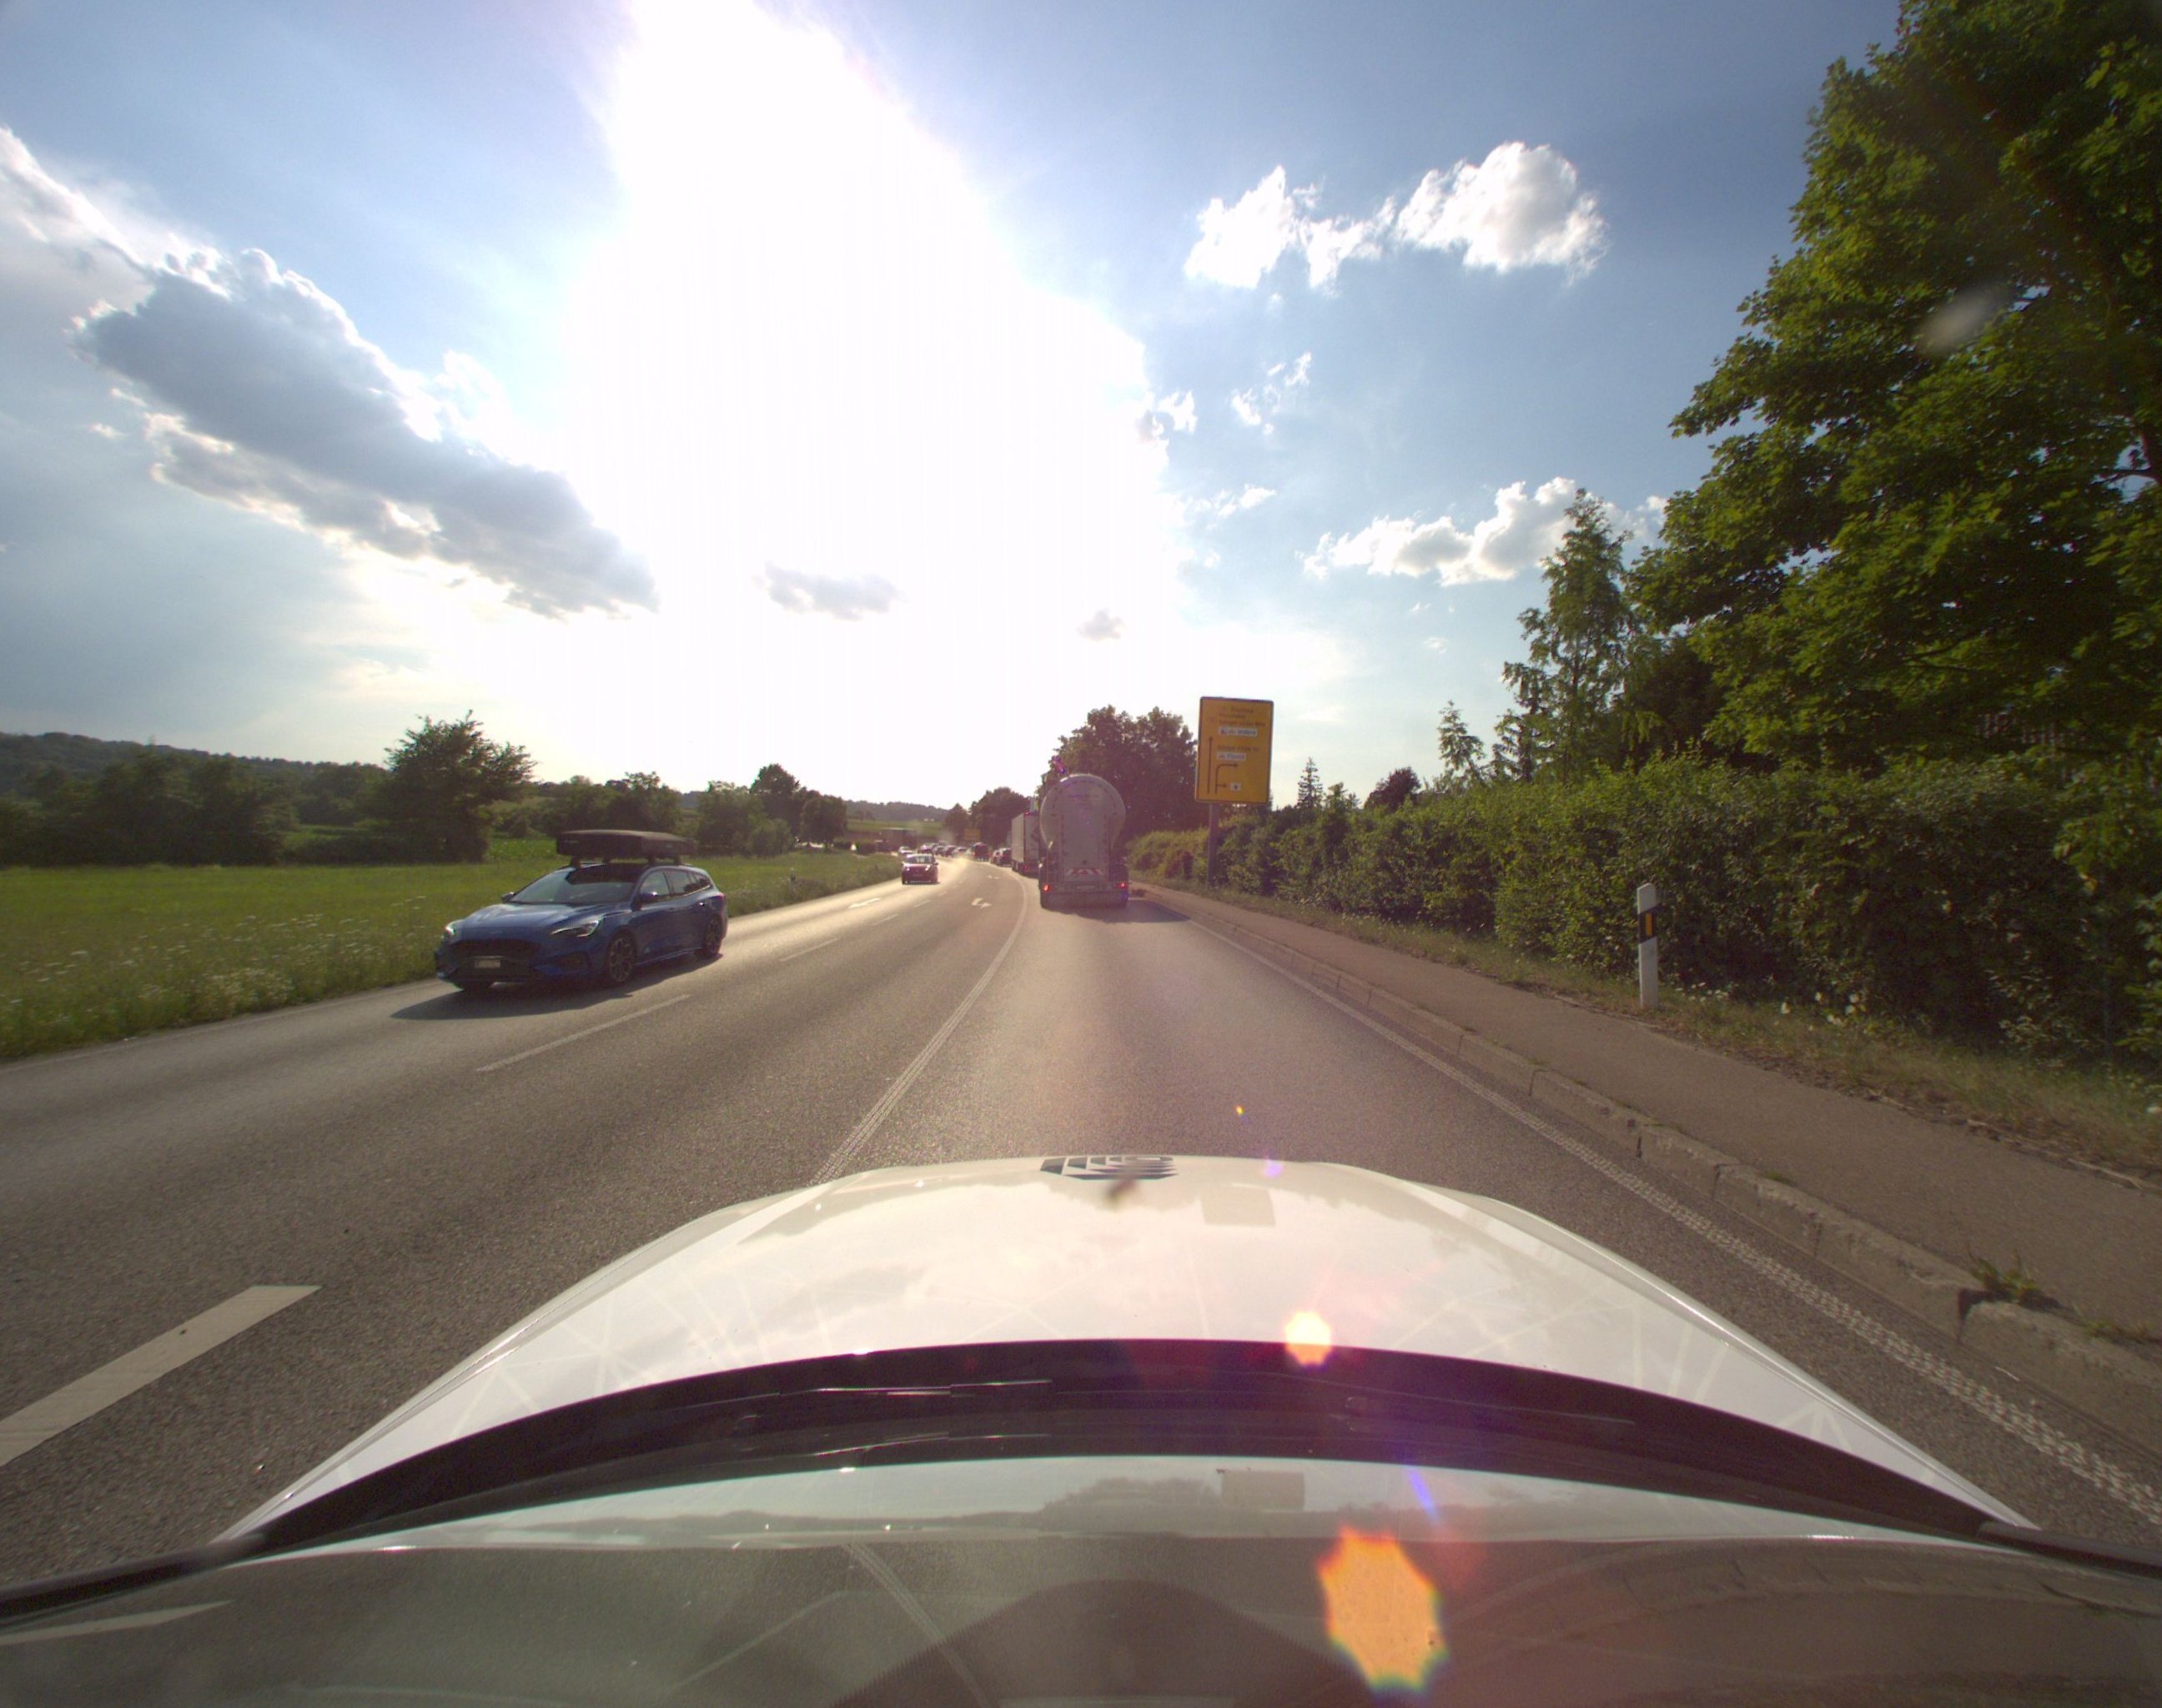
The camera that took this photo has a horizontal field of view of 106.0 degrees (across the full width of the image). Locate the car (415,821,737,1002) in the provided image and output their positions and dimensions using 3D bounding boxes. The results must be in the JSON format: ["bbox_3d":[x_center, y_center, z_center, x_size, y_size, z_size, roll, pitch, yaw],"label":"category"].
[{"bbox_3d":[-6.329,0.603,10.905,1.720,1.882,4.331,-1,0,-3],"label":"car"}]

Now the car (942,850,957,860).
[{"bbox_3d":[-19.216,0.113,118.894,1.586,1.340,3.401,1,0,-21],"label":"car"}]

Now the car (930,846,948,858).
[{"bbox_3d":[-24.628,-0.371,141.003,2.004,2.013,3.967,0,1,-26],"label":"car"}]

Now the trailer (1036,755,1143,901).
[{"bbox_3d":[-0.024,-0.740,27.357,2.903,4.006,9.918,0,0,-3],"label":"trailer"}]

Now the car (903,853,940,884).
[{"bbox_3d":[-8.156,0.713,41.837,1.584,1.466,3.599,-2,0,-7],"label":"car"}]

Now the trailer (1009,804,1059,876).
[{"bbox_3d":[-3.311,-0.900,56.743,2.949,4.315,14.156,1,0,-4],"label":"trailer"}]

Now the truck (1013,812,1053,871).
[{"bbox_3d":[-3.735,-0.953,63.304,2.946,4.303,4.924,1,0,-4],"label":"truck"}]

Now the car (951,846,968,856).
[{"bbox_3d":[-16.816,-0.375,112.852,1.586,1.340,3.401,1,0,-21],"label":"car"}]

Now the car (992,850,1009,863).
[{"bbox_3d":[-8.395,0.238,84.792,1.580,1.340,3.414,1,0,-9],"label":"car"}]

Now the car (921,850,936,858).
[{"bbox_3d":[-24.851,-0.015,132.854,1.776,1.206,3.401,1,0,-21],"label":"car"}]

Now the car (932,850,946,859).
[{"bbox_3d":[-22.113,0.008,126.695,1.586,1.340,3.401,1,0,-21],"label":"car"}]

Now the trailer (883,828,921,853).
[{"bbox_3d":[-33.032,-2.441,149.851,3.394,4.350,14.168,1,0,-27],"label":"trailer"}]

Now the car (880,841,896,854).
[{"bbox_3d":[-31.477,-1.034,132.615,2.005,2.136,4.747,0,0,-20],"label":"car"}]

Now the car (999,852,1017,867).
[{"bbox_3d":[-6.894,0.471,76.548,1.579,1.340,3.417,1,0,-7],"label":"car"}]

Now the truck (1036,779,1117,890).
[{"bbox_3d":[-0.259,-0.724,31.751,2.903,4.006,4.055,0,0,-3],"label":"truck"}]

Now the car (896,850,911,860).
[{"bbox_3d":[-25.064,0.127,115.061,1.711,1.428,4.153,0,0,-18],"label":"car"}]

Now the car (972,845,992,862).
[{"bbox_3d":[-12.049,-0.097,98.943,1.865,2.013,3.701,0,0,-15],"label":"car"}]
